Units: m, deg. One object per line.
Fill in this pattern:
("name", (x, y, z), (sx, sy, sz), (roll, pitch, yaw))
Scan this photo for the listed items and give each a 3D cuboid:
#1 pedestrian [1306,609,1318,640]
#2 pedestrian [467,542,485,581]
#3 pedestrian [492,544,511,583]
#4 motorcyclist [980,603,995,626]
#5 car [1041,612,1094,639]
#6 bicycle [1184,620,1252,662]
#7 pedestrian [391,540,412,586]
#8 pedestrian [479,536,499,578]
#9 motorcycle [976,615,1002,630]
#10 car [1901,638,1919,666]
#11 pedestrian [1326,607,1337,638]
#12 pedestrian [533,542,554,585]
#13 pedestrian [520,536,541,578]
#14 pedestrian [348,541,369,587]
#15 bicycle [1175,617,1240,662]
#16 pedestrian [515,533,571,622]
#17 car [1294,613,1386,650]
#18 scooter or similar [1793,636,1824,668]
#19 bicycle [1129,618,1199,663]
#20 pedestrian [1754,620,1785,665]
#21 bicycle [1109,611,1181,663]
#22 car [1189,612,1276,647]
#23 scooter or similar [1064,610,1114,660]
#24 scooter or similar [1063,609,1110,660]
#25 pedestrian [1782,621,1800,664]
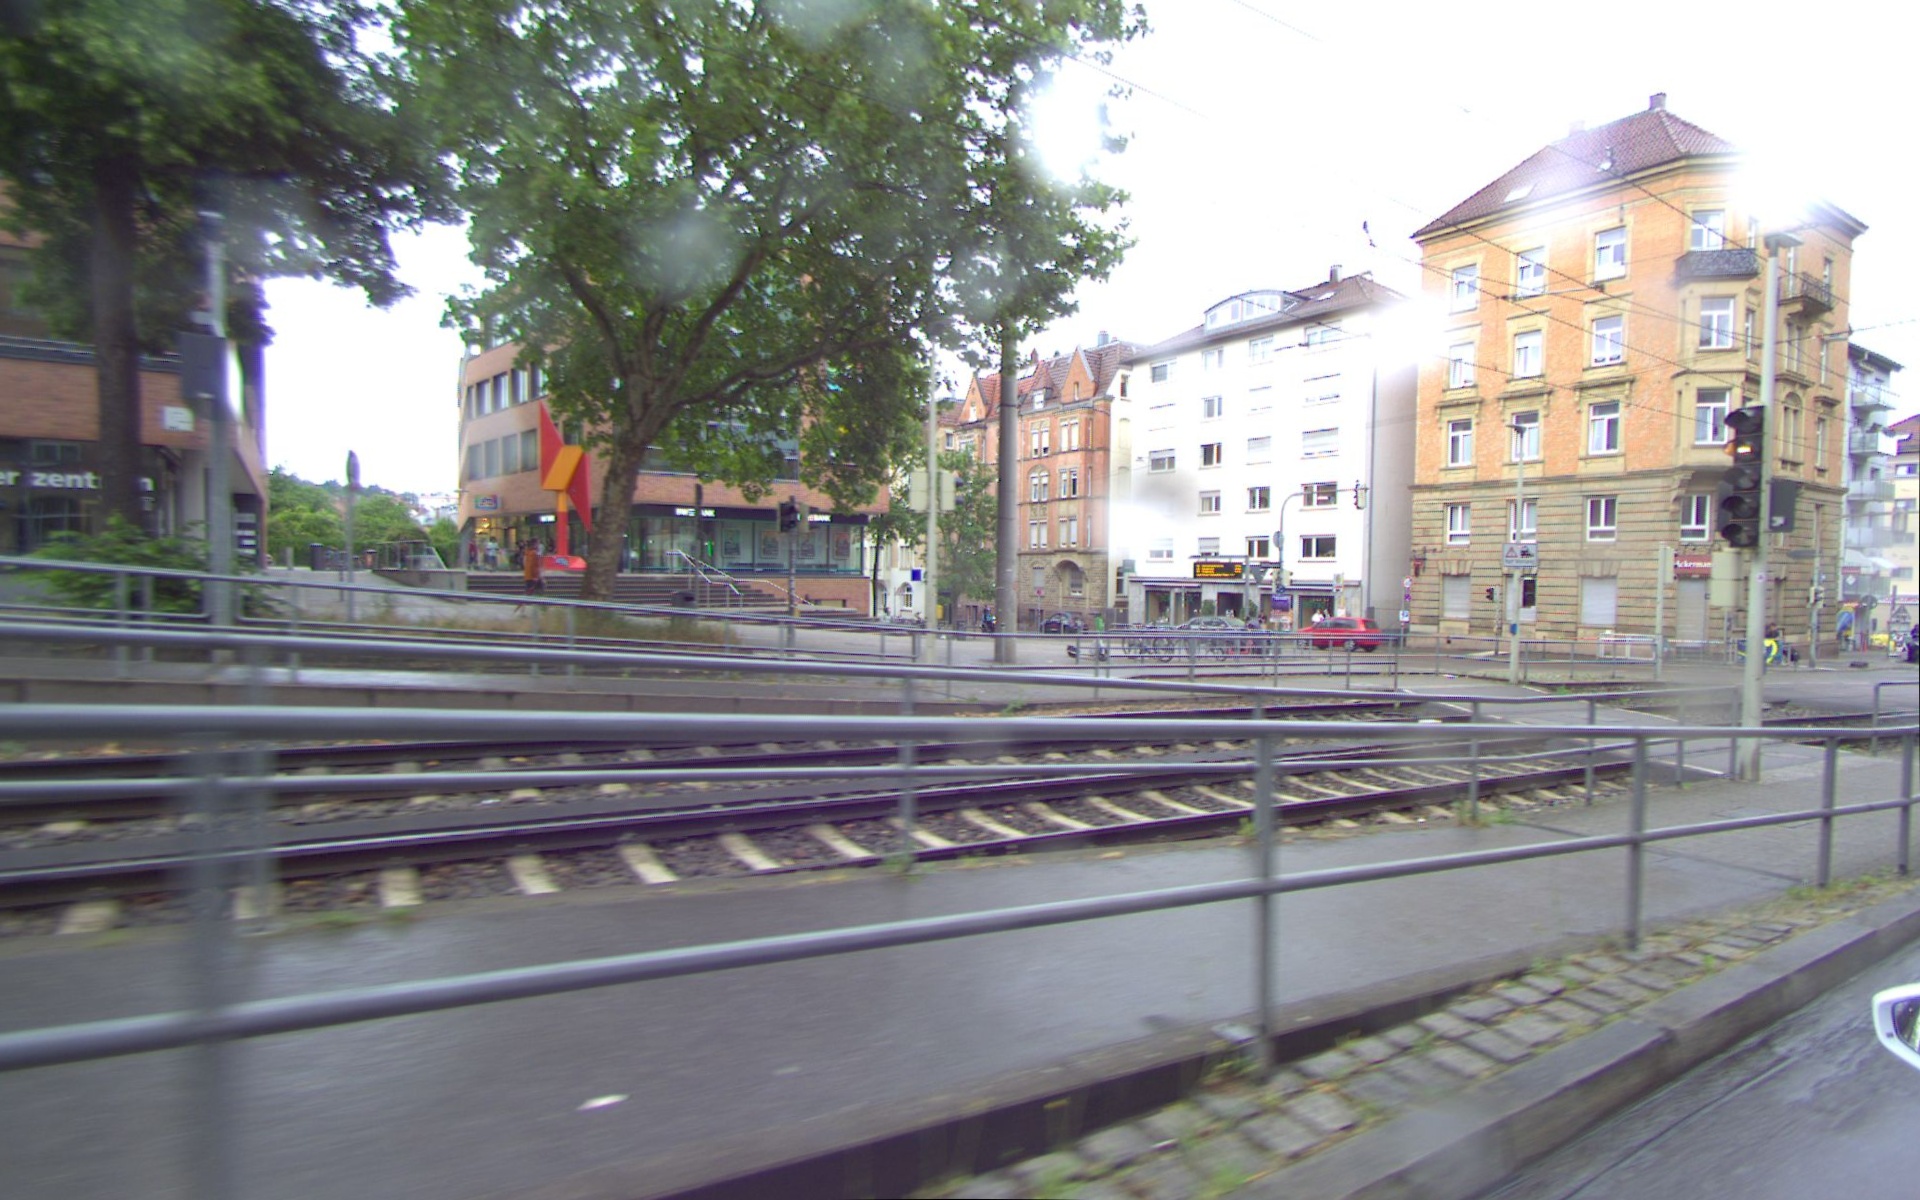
("pedestrian", (18.846, 1.295, 53.807), (0.507, 1.643, 0.486), (2, 1, 17))
("pedestrian", (-26.155, -2.072, 54.295), (0.711, 2.040, 0.712), (2, 0, -39))
("pedestrian", (-24.143, -1.912, 52.873), (0.711, 2.040, 0.713), (2, 1, -38))
("motorcyclist", (1.690, 0.879, 61.726), (0.582, 1.404, 0.617), (1, 0, -36))
("car", (6.703, 1.563, 62.752), (1.414, 1.509, 3.122), (1, 1, -42))
("bicycle", (7.370, 1.167, 28.753), (0.514, 1.079, 1.852), (1, 1, -44))
("pedestrian", (-25.702, -1.700, 46.197), (0.711, 2.040, 0.712), (2, 0, -39))
("pedestrian", (-23.237, -2.124, 49.571), (0.711, 2.040, 0.712), (2, 0, -39))
("motorcycle", (1.767, 1.384, 61.609), (0.591, 0.895, 1.849), (2, 0, -36))
("car", (49.319, 2.664, 51.075), (3.262, 1.336, 1.442), (1, 2, -35))
("pedestrian", (19.718, 1.200, 53.318), (0.507, 1.643, 0.486), (2, 1, 17))
("pedestrian", (-20.222, -1.770, 48.756), (0.711, 2.040, 0.712), (2, 0, -39))
("pedestrian", (-21.337, -2.144, 49.887), (0.707, 2.040, 0.716), (2, 0, 44))
("pedestrian", (-27.265, -1.635, 45.519), (0.711, 2.040, 0.712), (2, 0, -39))
("bicycle", (6.935, 1.087, 28.192), (0.514, 1.158, 1.749), (1, 1, -44))
("pedestrian", (-9.839, -0.511, 23.707), (0.973, 2.040, 0.726), (2, 1, -42))
("car", (17.222, 1.416, 45.606), (1.669, 1.509, 3.576), (2, 0, -36))
("scooter or similar", (33.464, 2.039, 39.617), (0.918, 1.179, 0.334), (1, 0, 41))
("bicycle", (5.432, 1.061, 26.831), (0.514, 1.076, 1.851), (1, 1, -45))
("pedestrian", (30.755, 1.618, 38.177), (0.667, 1.683, 0.676), (2, 0, -27))
("bicycle", (4.777, 0.942, 26.034), (0.514, 1.211, 1.852), (1, 1, -44))
("car", (12.473, 1.337, 46.099), (1.669, 1.422, 3.576), (2, 0, -36))
("scooter or similar", (3.271, 0.874, 25.514), (1.226, 1.211, 0.299), (2, 1, 5))
("scooter or similar", (3.121, 0.840, 24.832), (1.090, 1.211, 0.362), (2, 1, 5))
("pedestrian", (33.068, 1.679, 39.953), (0.512, 1.688, 0.474), (2, 0, 41))
